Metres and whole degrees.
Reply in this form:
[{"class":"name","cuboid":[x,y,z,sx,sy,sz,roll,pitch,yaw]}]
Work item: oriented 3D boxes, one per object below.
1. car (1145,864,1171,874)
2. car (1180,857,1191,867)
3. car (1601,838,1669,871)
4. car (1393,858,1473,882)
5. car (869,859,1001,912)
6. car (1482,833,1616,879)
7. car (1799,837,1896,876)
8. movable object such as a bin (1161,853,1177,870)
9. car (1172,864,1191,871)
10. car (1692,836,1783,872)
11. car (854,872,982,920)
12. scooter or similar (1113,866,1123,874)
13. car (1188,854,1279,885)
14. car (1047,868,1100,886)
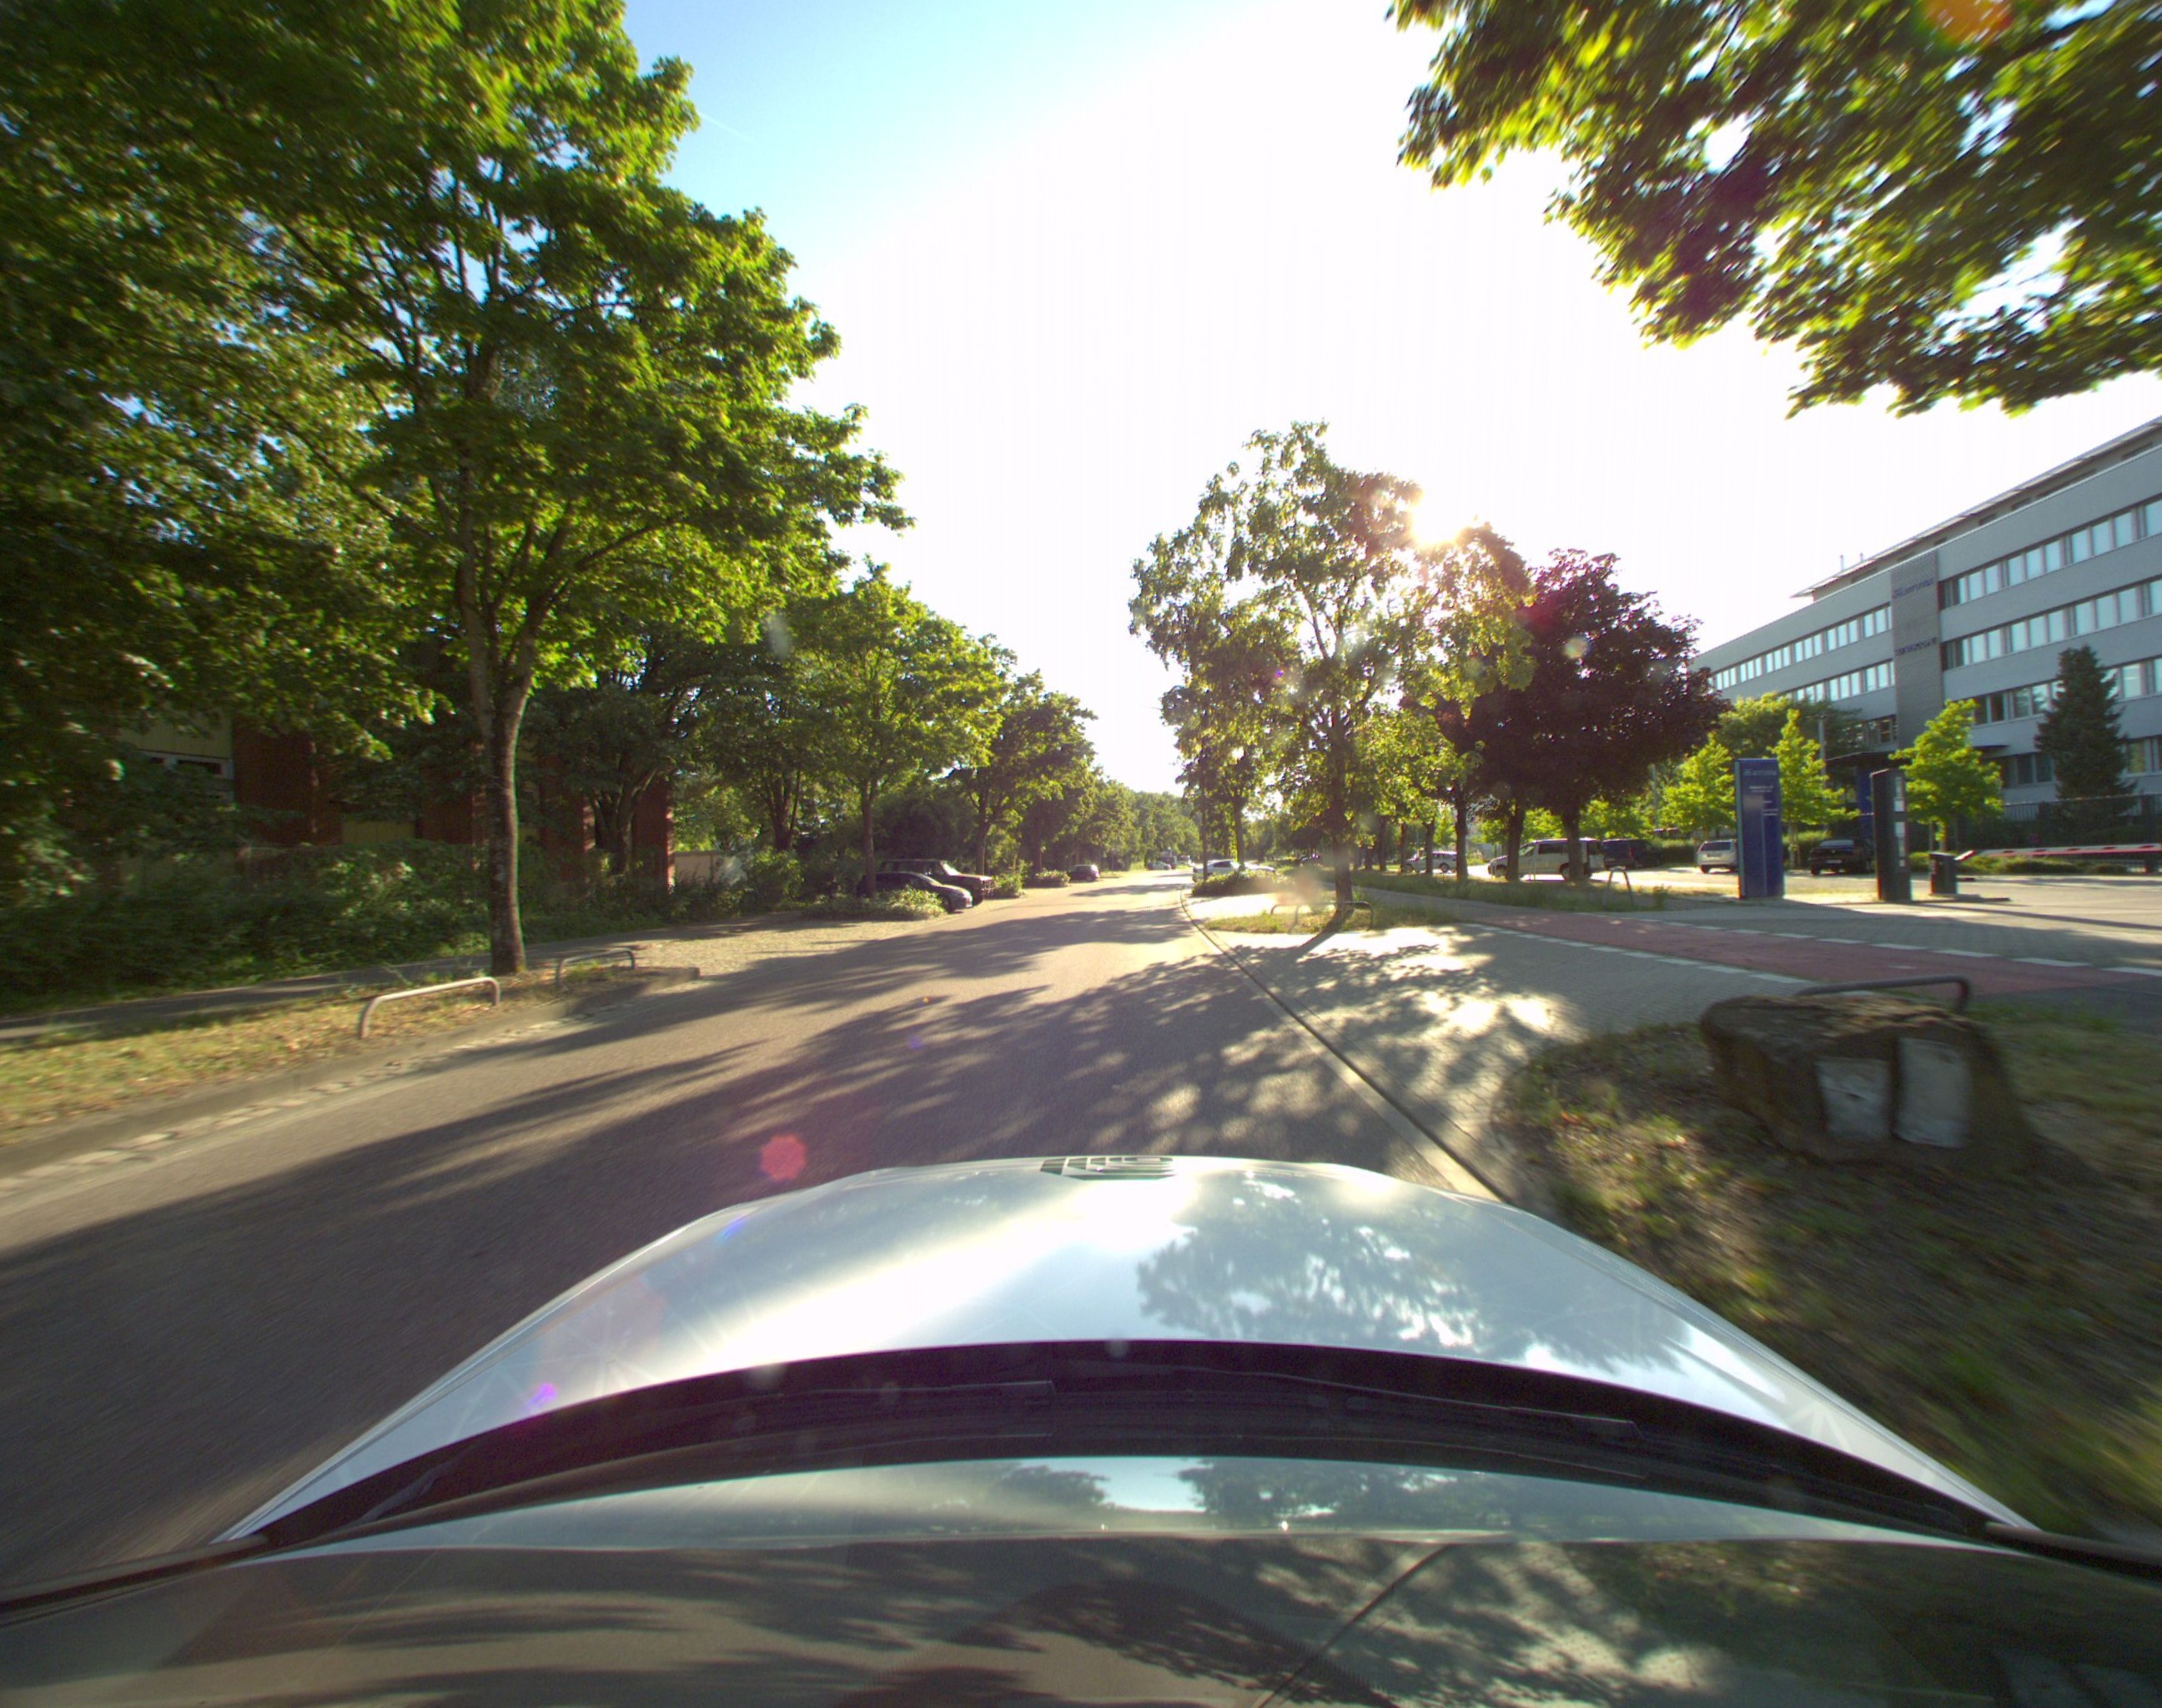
[{"class":"car","cuboid":[13.550,2.687,142.880,4.329,1.547,2.007,-2,-1,12]},{"class":"car","cuboid":[26.156,2.009,204.067,2.505,2.386,4.378,-2,-1,5]},{"class":"car","cuboid":[32.934,0.025,48.381,4.513,1.750,1.749,-2,-1,-34]},{"class":"car","cuboid":[25.554,1.165,59.279,2.011,1.574,4.894,-1,-1,-42]},{"class":"car","cuboid":[-5.990,1.287,33.825,4.982,2.020,2.177,-1,-1,4]},{"class":"car","cuboid":[21.248,0.083,37.199,2.009,1.933,4.900,-2,0,-35]},{"class":"car","cuboid":[29.643,0.075,31.460,4.015,1.354,1.788,-2,-1,-33]},{"class":"movable object such as a bin","cuboid":[16.734,1.477,155.253,2.823,3.069,4.936,-2,-1,7]},{"class":"car","cuboid":[23.992,3.216,194.922,4.338,1.479,2.002,-2,-1,4]},{"class":"car","cuboid":[30.887,0.005,38.314,4.324,1.529,1.790,-2,-1,-29]},{"class":"car","cuboid":[-5.892,1.522,29.701,4.193,1.530,1.707,-2,-1,4]},{"class":"scooter or similar","cuboid":[5.824,2.553,129.236,1.592,1.145,0.570,-1,-2,-39]},{"class":"car","cuboid":[9.018,0.922,48.607,5.150,1.574,2.161,-2,-1,5]},{"class":"car","cuboid":[-0.628,1.963,70.479,4.334,1.479,2.005,0,0,8]}]
